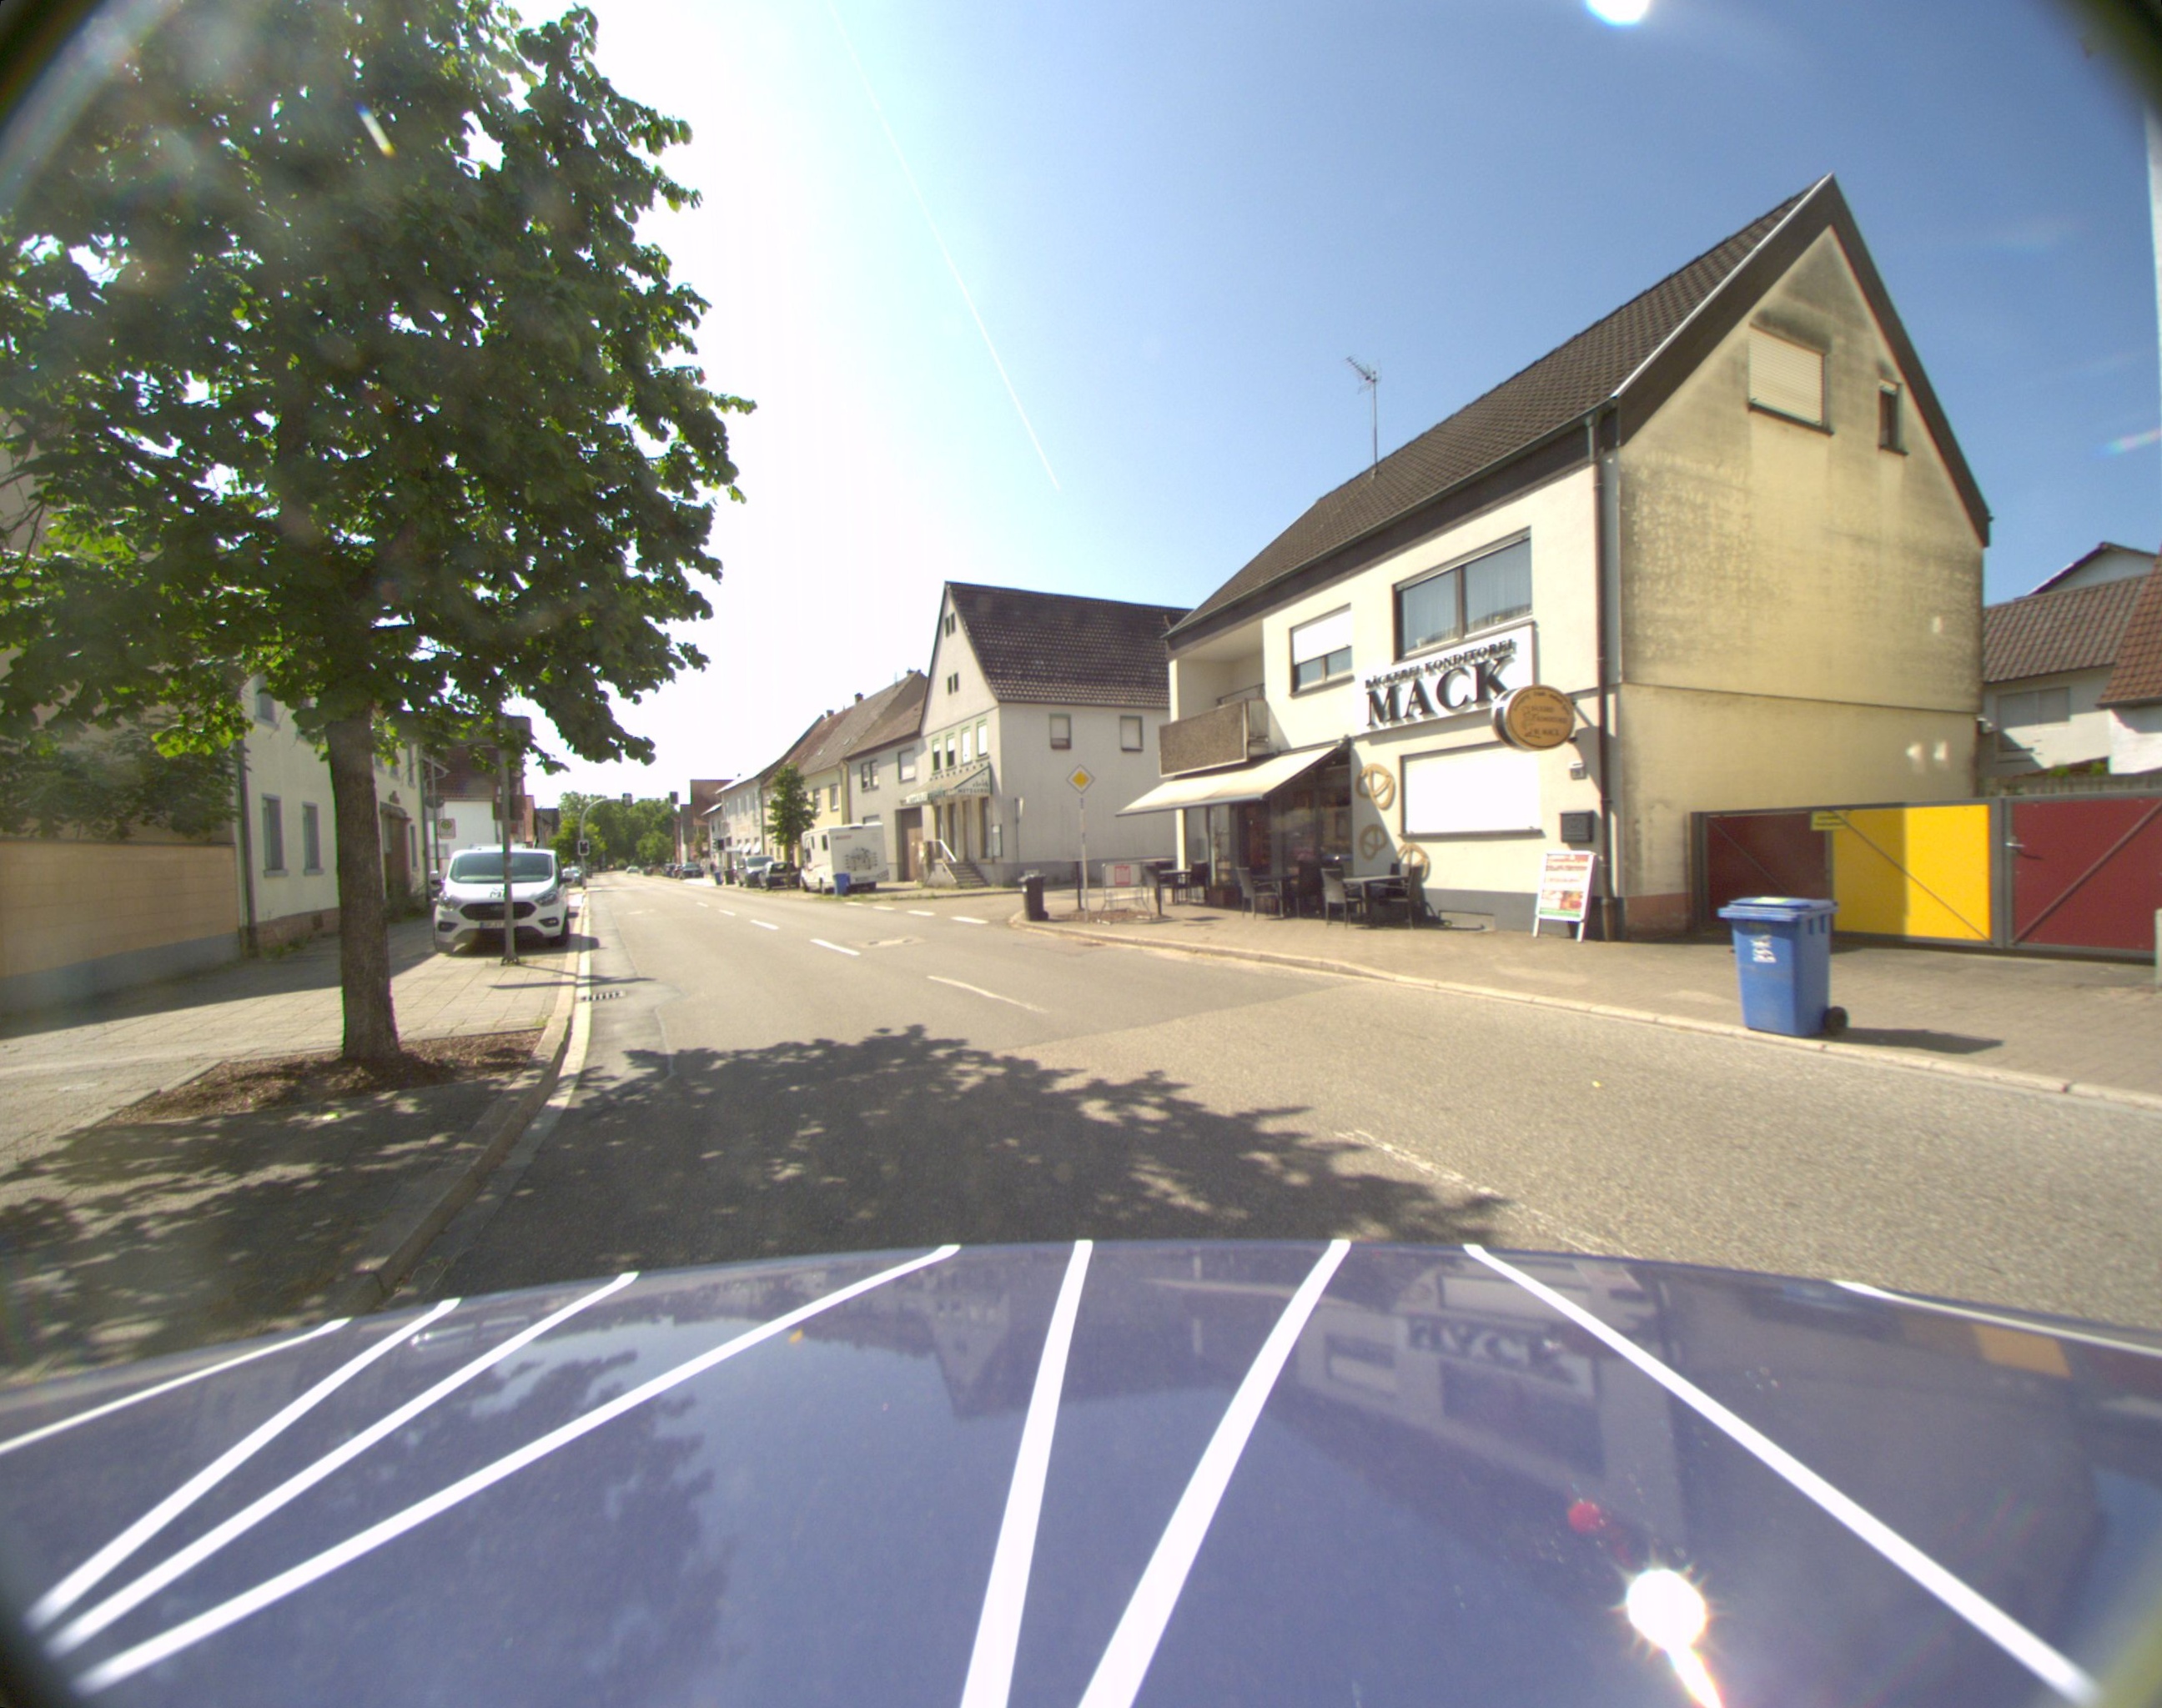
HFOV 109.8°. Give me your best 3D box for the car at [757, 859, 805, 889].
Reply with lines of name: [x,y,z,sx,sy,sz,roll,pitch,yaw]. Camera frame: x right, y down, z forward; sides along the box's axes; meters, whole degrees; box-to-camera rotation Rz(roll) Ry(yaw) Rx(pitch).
car: [-16.230,1.033,41.035,1.693,1.474,3.609,-3,1,-33]

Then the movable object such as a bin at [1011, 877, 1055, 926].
movable object such as a bin: [-0.974,0.958,15.466,0.646,0.919,0.612,-3,1,-33]

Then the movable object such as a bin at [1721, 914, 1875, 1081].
movable object such as a bin: [4.926,0.942,5.229,0.645,0.975,0.612,-3,1,-31]

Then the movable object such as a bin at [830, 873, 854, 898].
movable object such as a bin: [-8.764,1.141,27.873,0.646,0.867,0.612,-3,2,-33]

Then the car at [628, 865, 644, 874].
car: [-80.435,2.755,137.358,2.002,1.521,3.992,-3,1,-23]

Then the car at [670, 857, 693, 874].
car: [-45.542,1.330,86.586,2.003,1.837,4.944,-2,1,-31]

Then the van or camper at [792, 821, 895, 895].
van or camper: [-10.673,0.143,33.664,2.457,2.888,7.049,-3,1,-32]

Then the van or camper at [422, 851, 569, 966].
van or camper: [-11.938,0.955,15.837,2.003,1.942,5.332,-2,1,-34]

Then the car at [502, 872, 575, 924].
car: [-17.553,1.347,24.717,1.737,1.419,3.976,-2,1,-34]

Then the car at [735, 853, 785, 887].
car: [-19.404,0.902,45.773,2.003,1.837,4.944,-3,1,-31]

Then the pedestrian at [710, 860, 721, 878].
pedestrian: [-31.249,1.281,64.982,0.754,1.523,0.579,-3,2,-34]

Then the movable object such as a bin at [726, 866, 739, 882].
movable object such as a bin: [-23.849,1.353,52.011,0.720,1.061,0.549,-3,2,-35]

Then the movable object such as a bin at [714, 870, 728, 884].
movable object such as a bin: [-25.030,1.618,52.833,0.720,0.907,0.549,-3,2,-35]

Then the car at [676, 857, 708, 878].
car: [-37.260,1.284,72.743,2.361,1.837,4.944,-2,1,-31]
